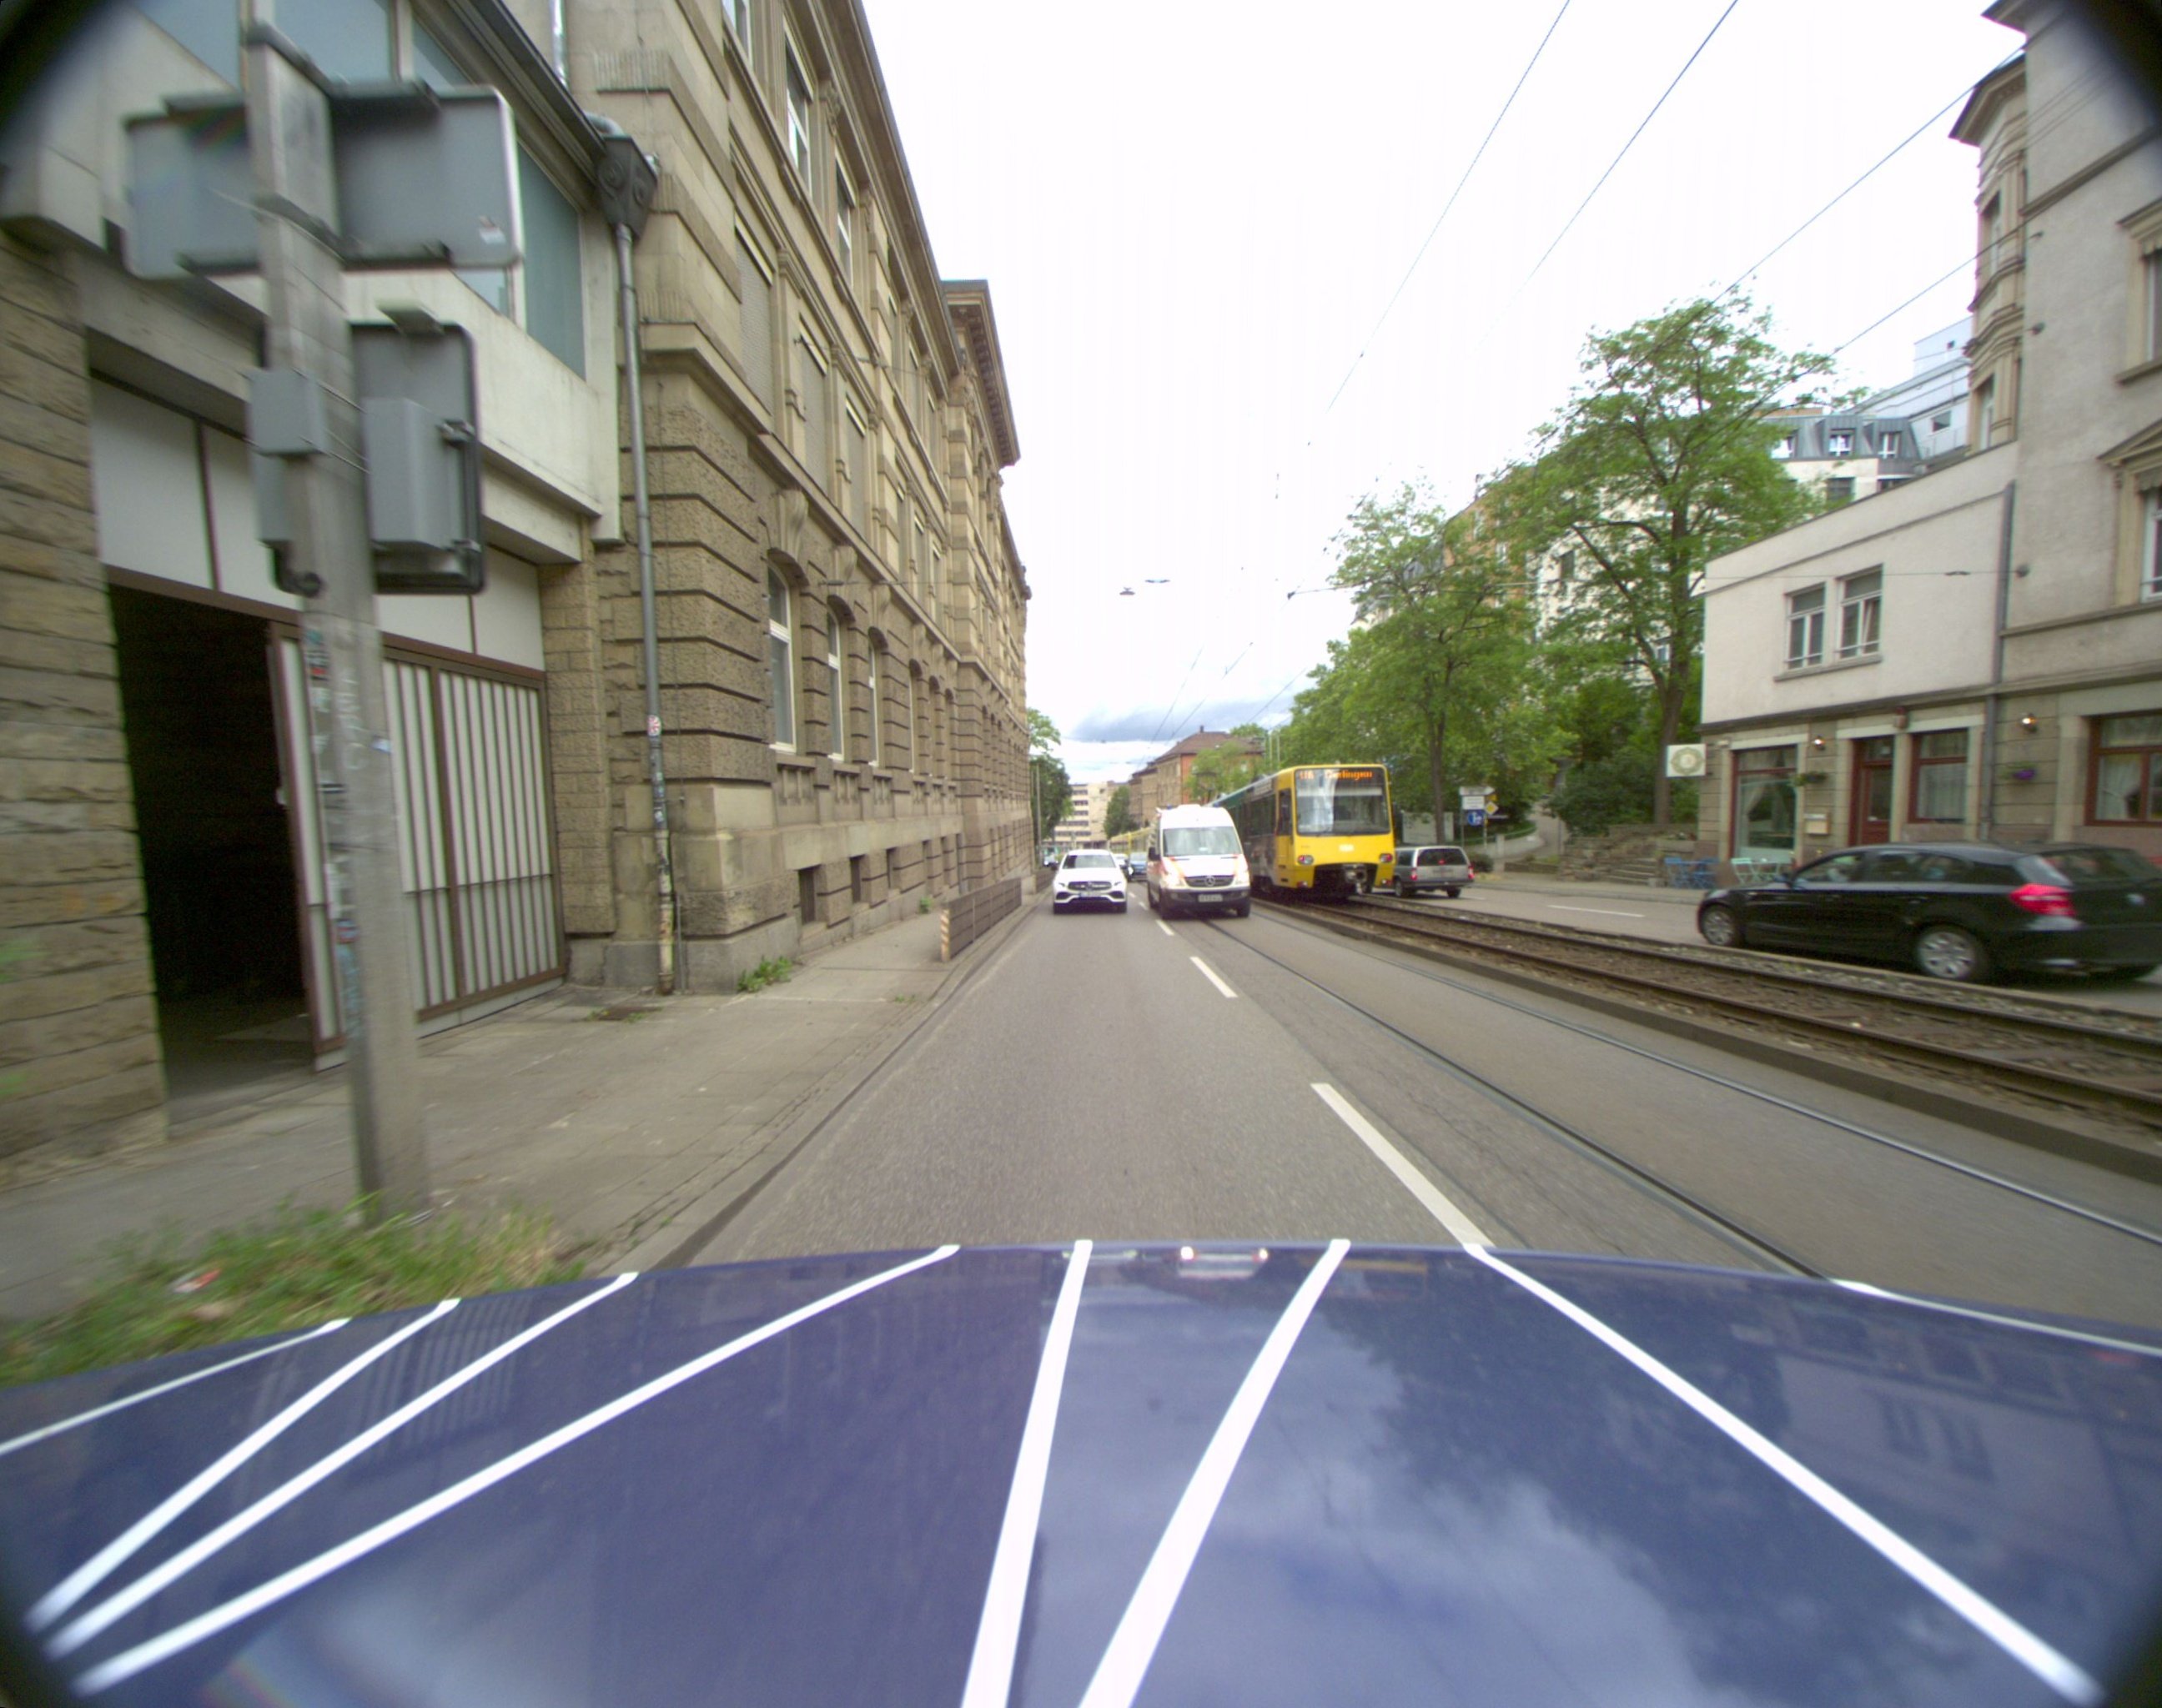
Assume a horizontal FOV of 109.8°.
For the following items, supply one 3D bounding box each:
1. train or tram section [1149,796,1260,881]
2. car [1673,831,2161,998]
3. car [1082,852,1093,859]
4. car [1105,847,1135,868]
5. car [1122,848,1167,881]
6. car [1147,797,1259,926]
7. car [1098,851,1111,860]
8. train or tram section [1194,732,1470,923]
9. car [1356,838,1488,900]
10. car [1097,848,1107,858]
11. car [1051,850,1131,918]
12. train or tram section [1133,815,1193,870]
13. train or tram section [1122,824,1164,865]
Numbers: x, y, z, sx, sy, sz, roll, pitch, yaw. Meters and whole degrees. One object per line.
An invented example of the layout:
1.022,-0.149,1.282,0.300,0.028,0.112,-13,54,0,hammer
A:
6.395,-0.721,43.514,2.884,3.704,18.753,-3,0,-1,train or tram section
9.066,0.485,8.388,1.835,1.356,4.162,-2,0,1,car
1.481,0.251,175.763,1.999,1.575,3.998,-1,0,-4,car
3.121,0.251,61.272,1.999,1.543,4.316,-2,0,-2,car
3.352,0.544,40.913,1.931,1.563,4.180,-3,0,0,car
2.844,0.166,19.022,2.038,2.684,5.855,-2,0,3,car
4.437,0.245,146.359,1.999,1.645,3.998,-2,0,-5,car
6.488,-0.571,24.772,2.883,3.704,18.756,-3,0,1,train or tram section
9.822,0.398,22.282,1.998,1.587,4.239,-2,0,1,car
4.807,-0.265,174.435,1.872,2.250,4.747,-3,1,-4,car
0.339,0.738,20.834,1.894,1.610,4.479,-2,0,3,car
6.340,-0.838,62.248,2.883,3.704,18.701,-3,0,1,train or tram section
6.265,-0.909,78.967,2.890,3.704,14.854,-3,0,0,train or tram section
